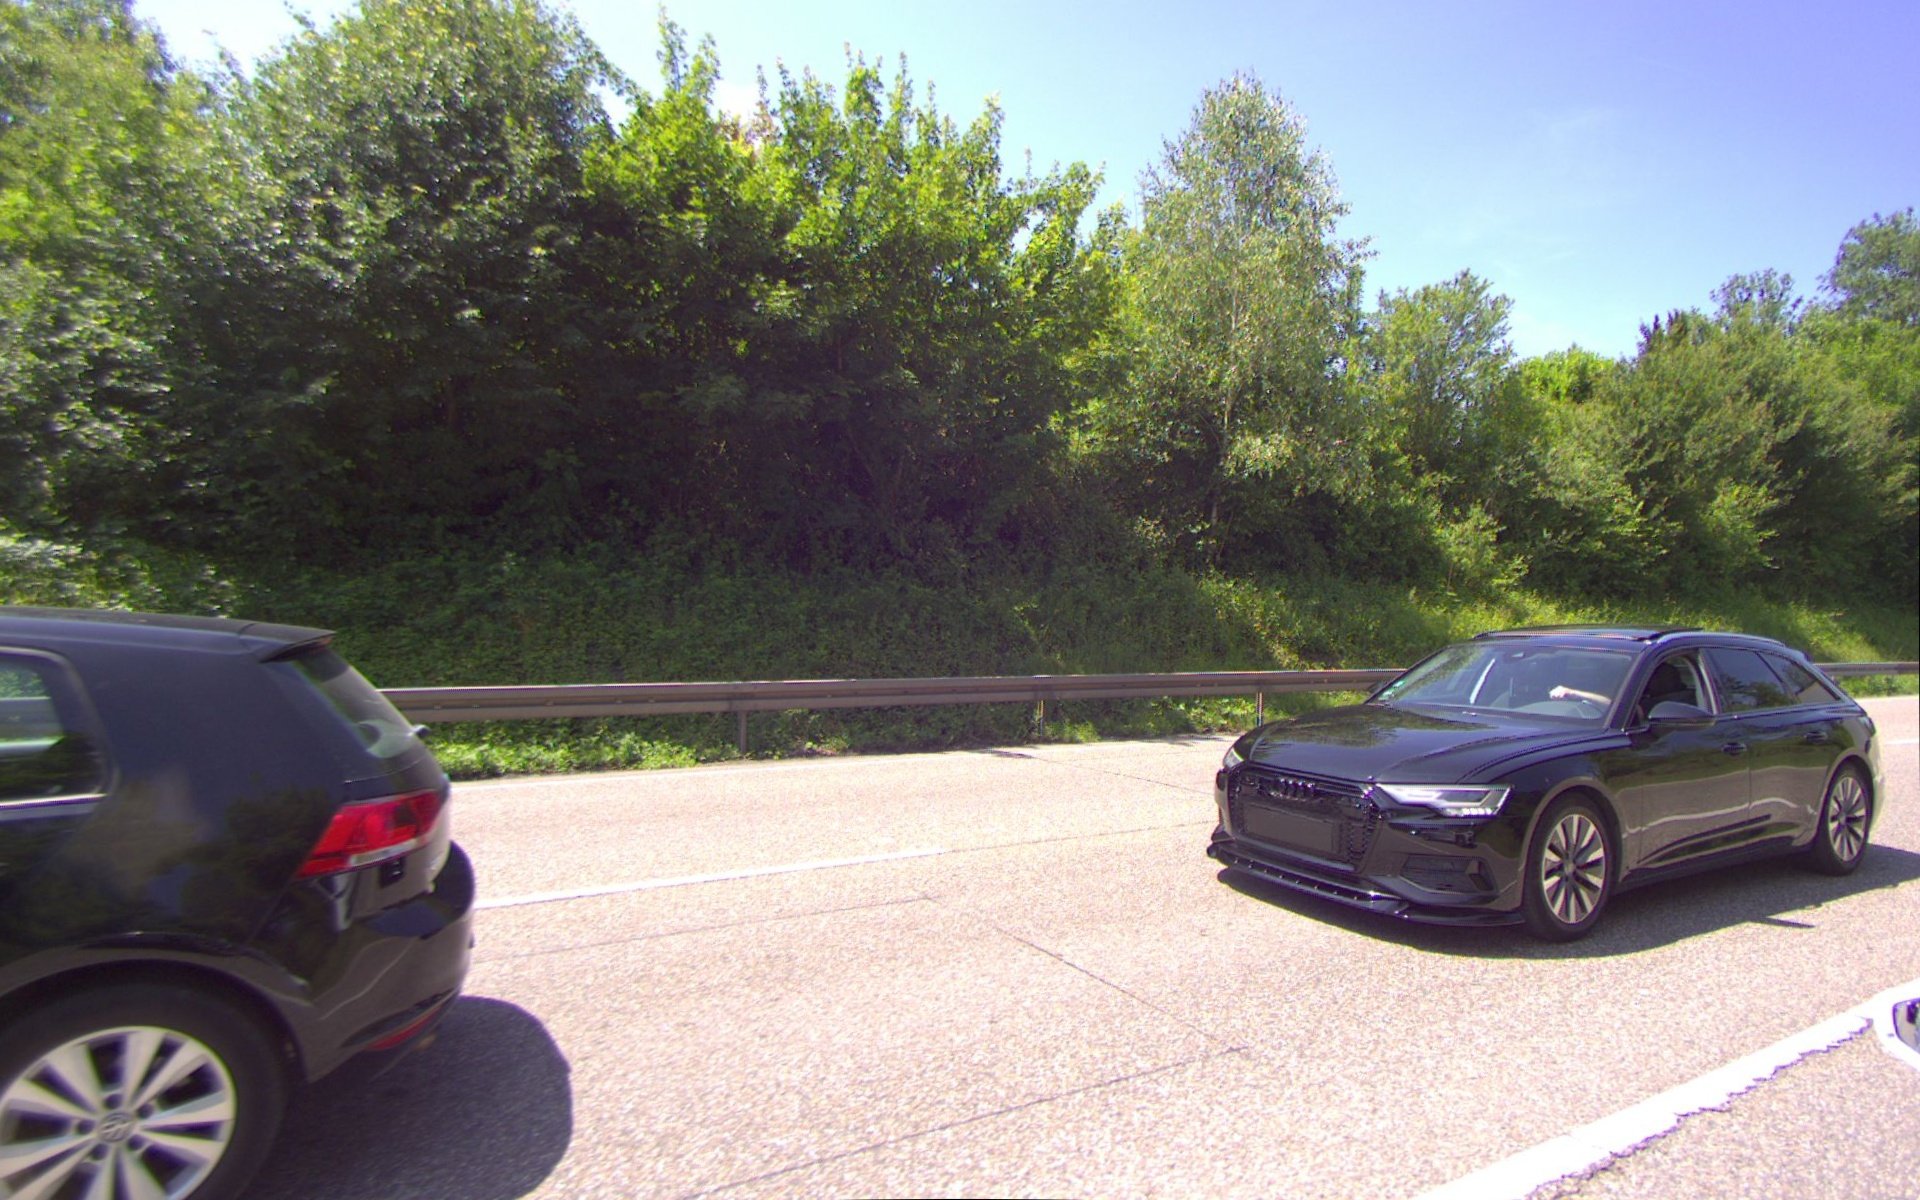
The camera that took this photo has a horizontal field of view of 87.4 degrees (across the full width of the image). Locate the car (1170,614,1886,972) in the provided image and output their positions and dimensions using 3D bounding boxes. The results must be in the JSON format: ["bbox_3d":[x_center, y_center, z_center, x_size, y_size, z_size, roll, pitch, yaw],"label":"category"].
[{"bbox_3d":[3.531,0.863,6.057,4.334,1.472,1.796,1,-1,-30],"label":"car"}]

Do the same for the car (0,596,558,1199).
[{"bbox_3d":[-3.240,0.689,2.261,4.133,1.433,1.673,2,-1,-30],"label":"car"}]
